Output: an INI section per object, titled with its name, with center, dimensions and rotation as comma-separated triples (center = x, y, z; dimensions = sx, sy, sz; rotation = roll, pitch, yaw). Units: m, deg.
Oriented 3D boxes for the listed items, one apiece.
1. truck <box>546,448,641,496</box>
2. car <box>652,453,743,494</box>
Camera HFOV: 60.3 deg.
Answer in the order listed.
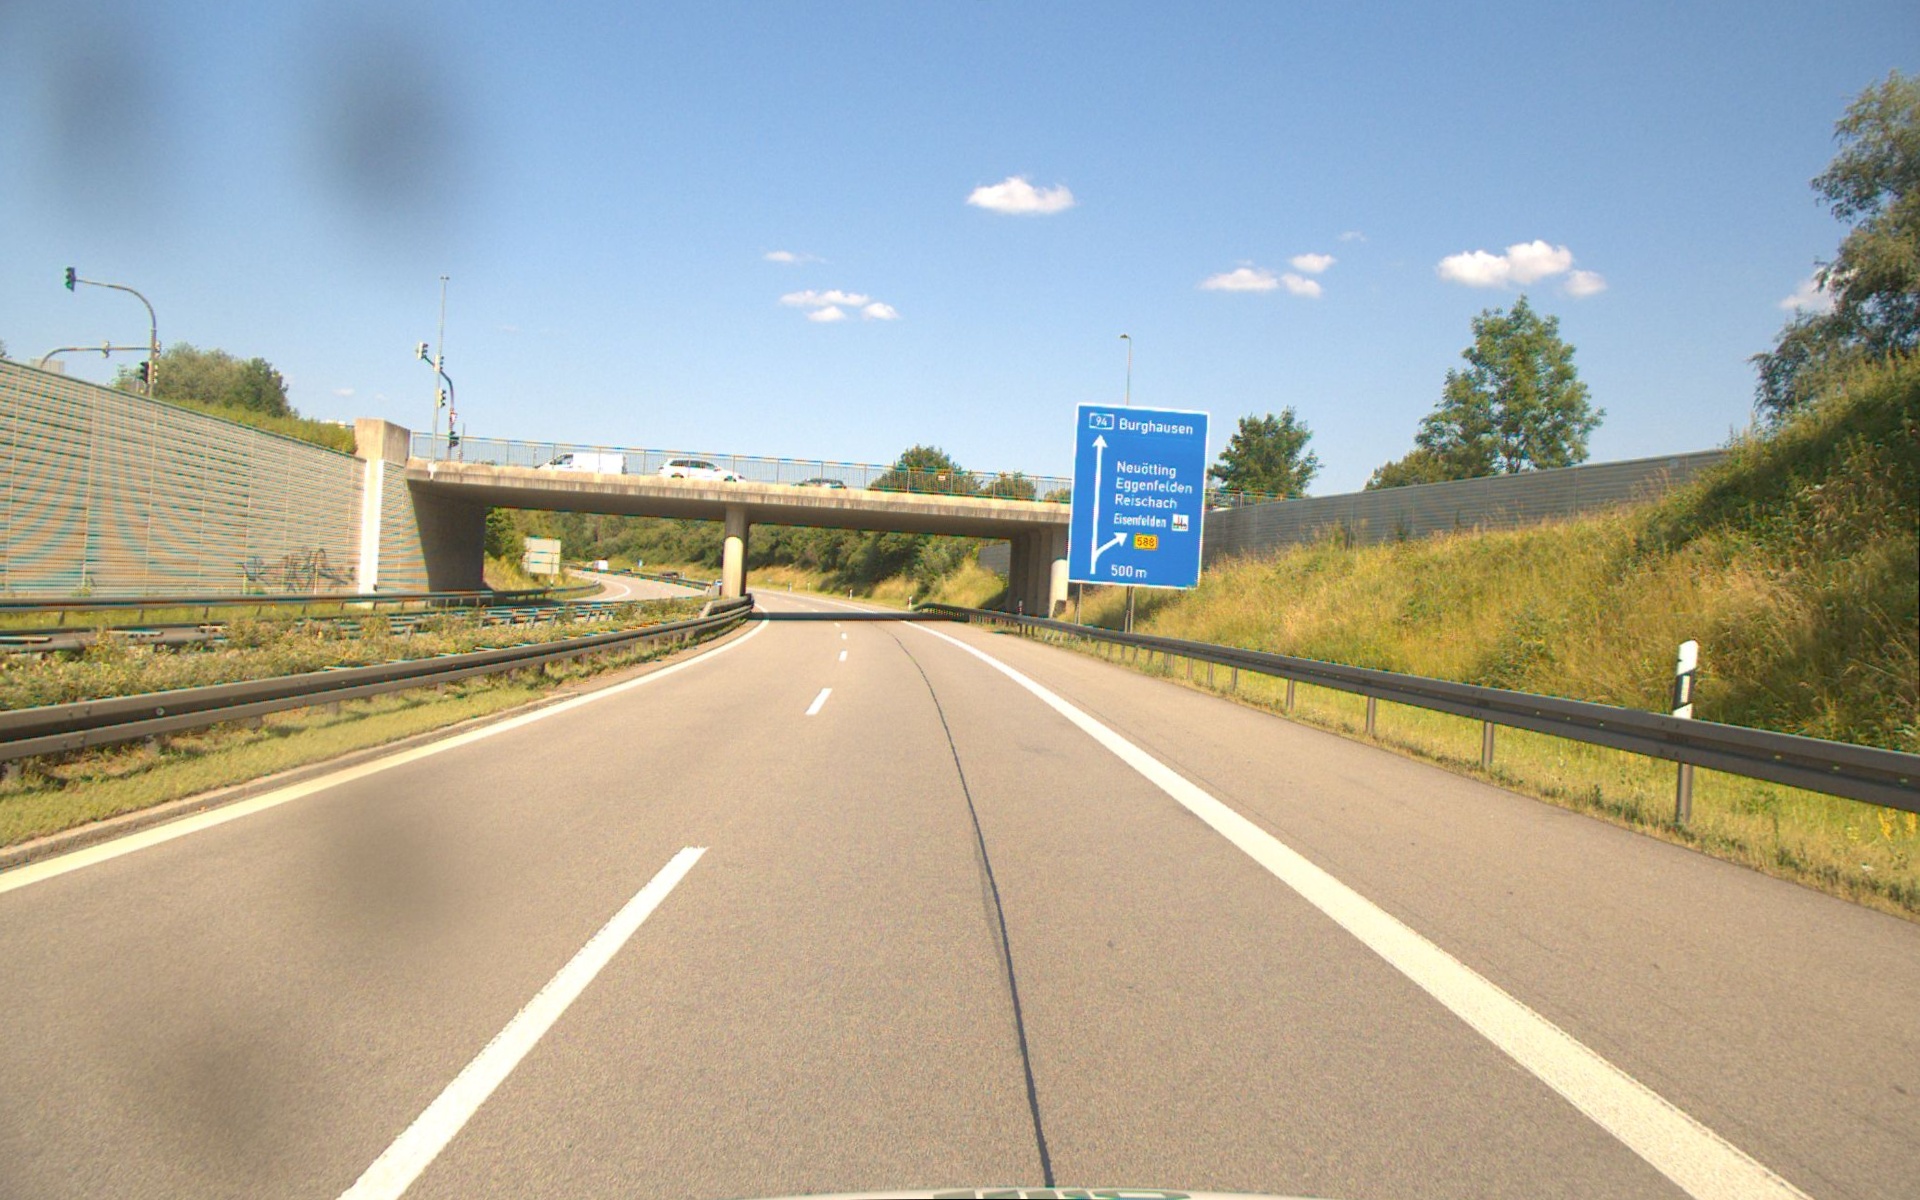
[truck]
center = -19.413, -6.784, 87.819
dimensions = 4.767, 2.205, 1.996
rotation = 1, -1, -10
[car]
center = -13.105, -6.310, 82.735
dimensions = 4.317, 1.625, 1.997
rotation = 3, -1, -7
